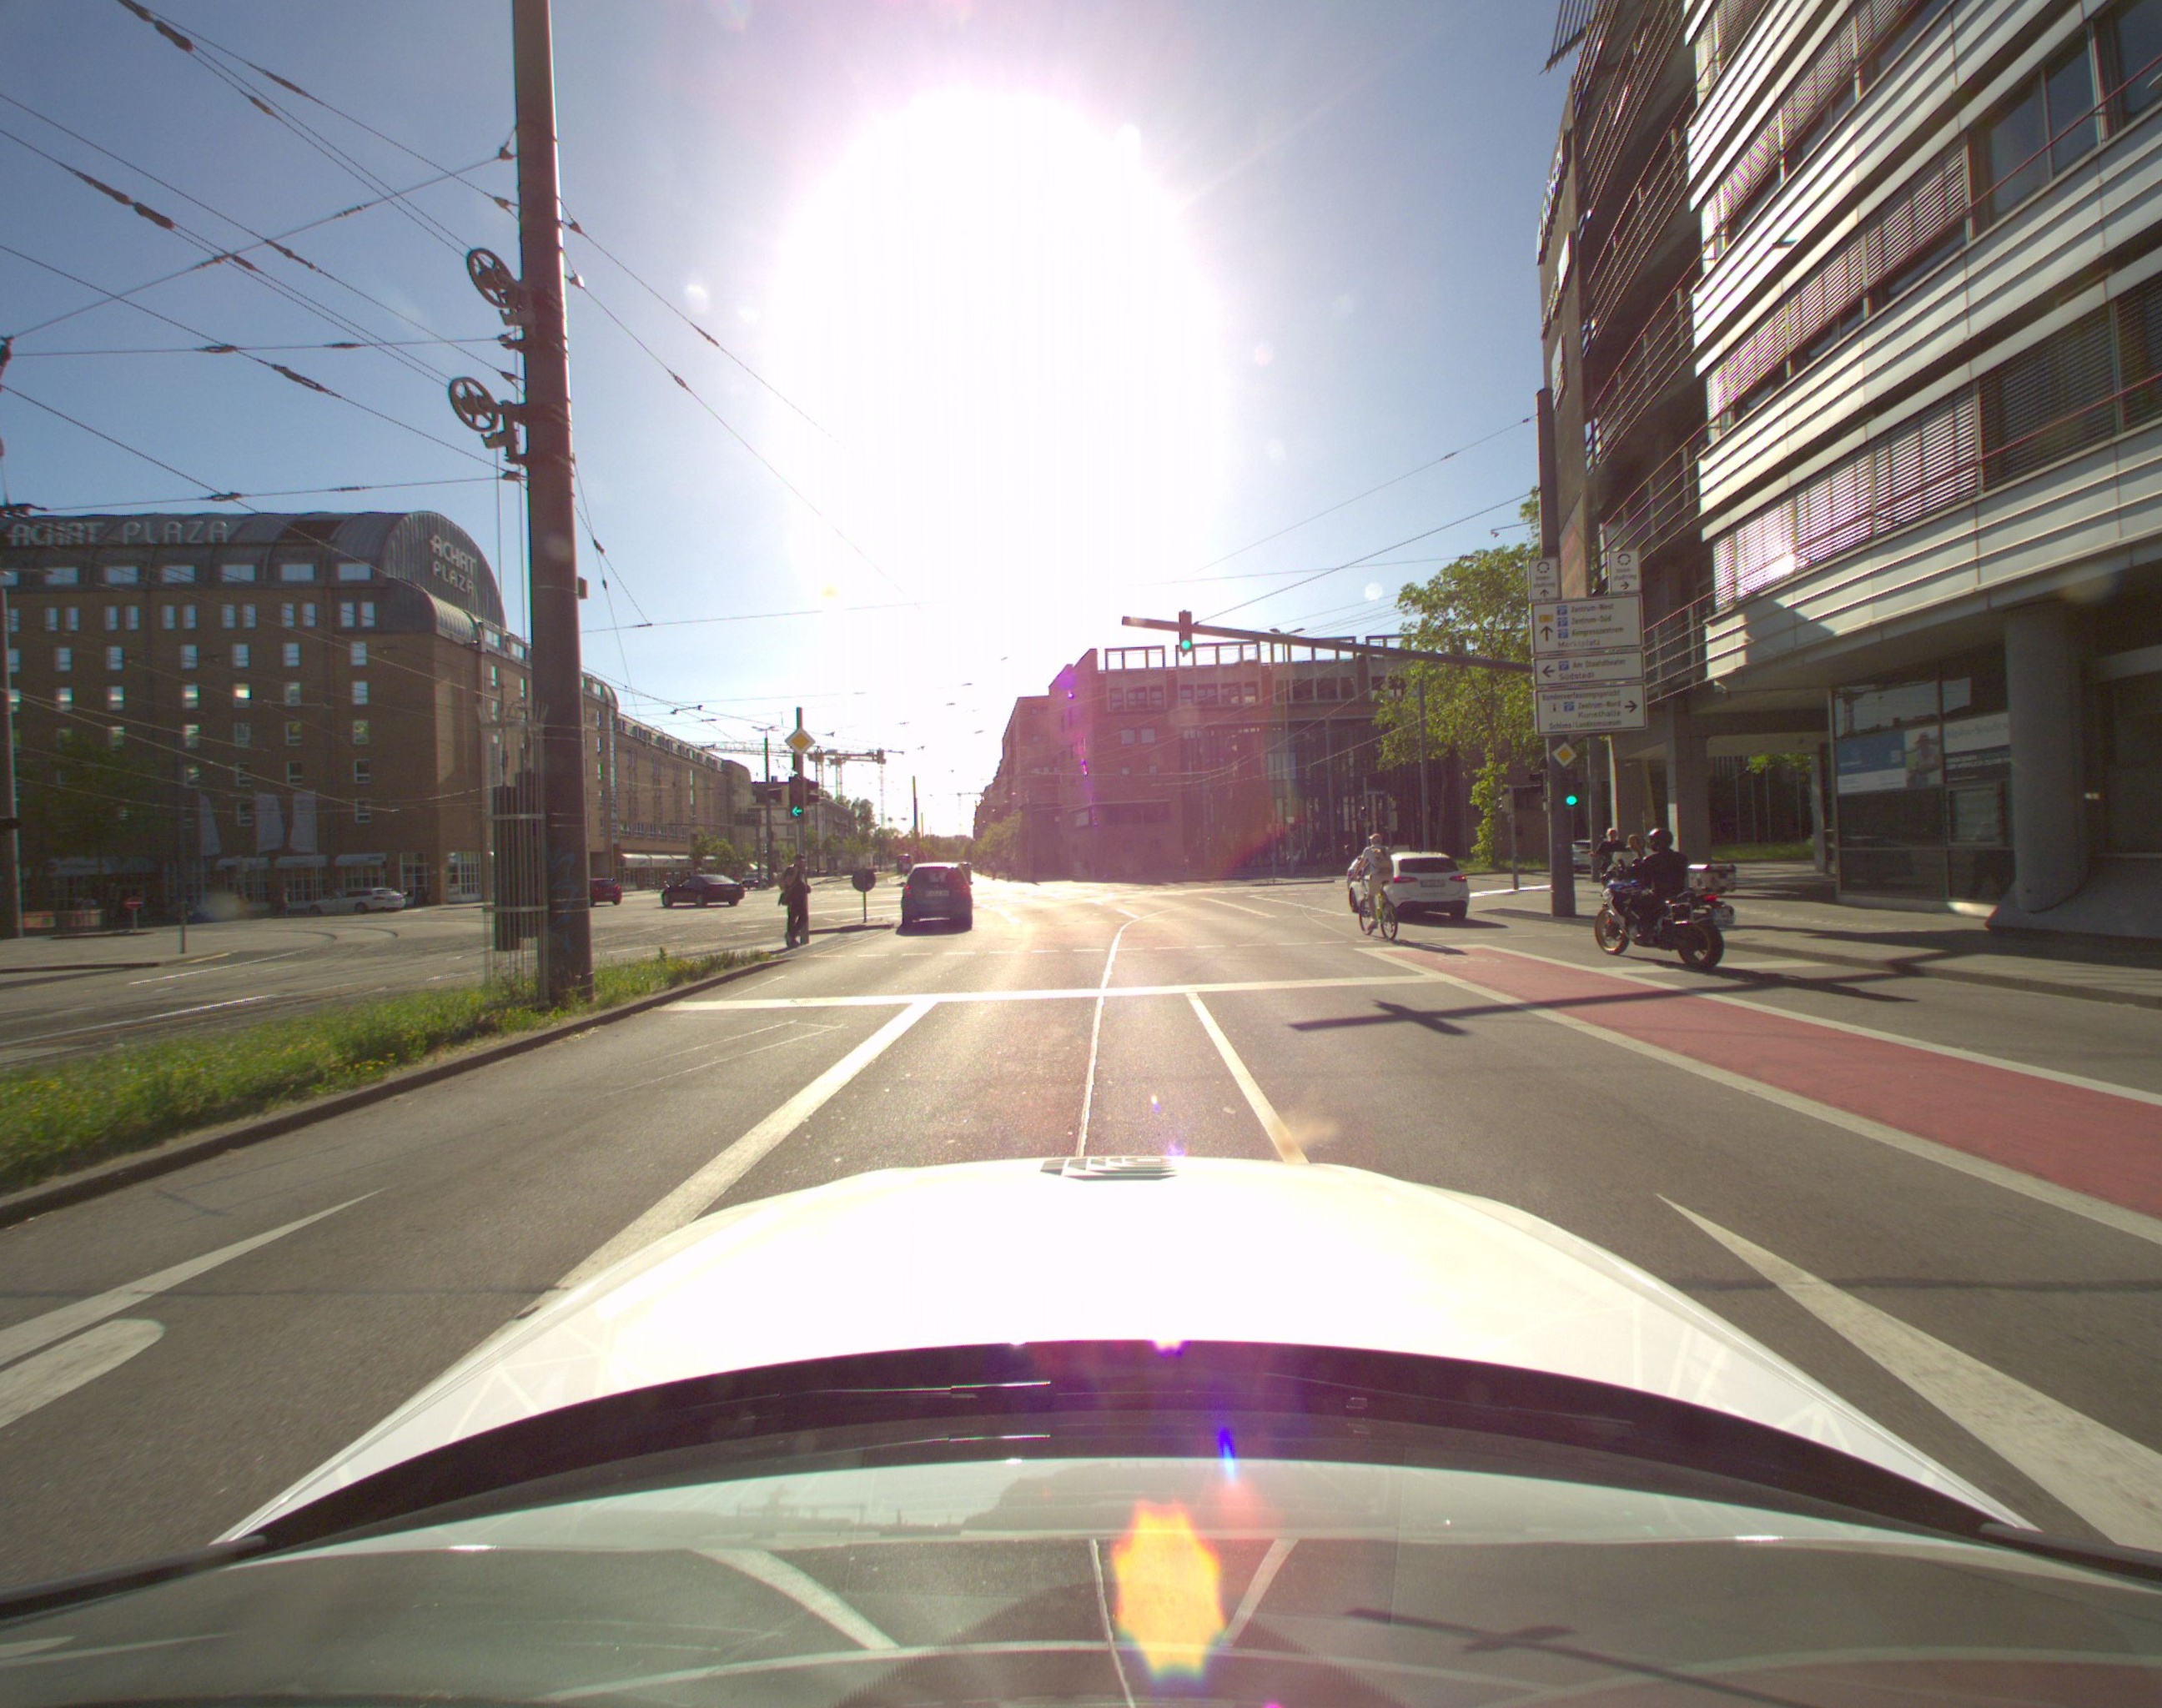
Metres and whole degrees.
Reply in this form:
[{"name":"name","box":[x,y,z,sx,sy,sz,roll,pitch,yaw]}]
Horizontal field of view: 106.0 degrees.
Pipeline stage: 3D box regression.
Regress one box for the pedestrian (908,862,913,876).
[{"name":"pedestrian","box":[-19.378,1.710,92.618,0.539,1.655,0.703,-2,-1,-12]}]

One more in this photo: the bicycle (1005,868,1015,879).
[{"name":"bicycle","box":[-6.340,1.732,72.777,0.603,0.985,2.305,-2,-1,-12]}]

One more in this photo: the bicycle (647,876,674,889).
[{"name":"bicycle","box":[-46.076,3.094,89.185,2.477,1.310,0.733,-2,-1,-1]}]

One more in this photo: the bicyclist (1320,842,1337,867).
[{"name":"bicyclist","box":[16.532,0.040,54.374,0.863,1.630,0.670,-2,-1,-9]}]

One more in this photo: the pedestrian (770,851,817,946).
[{"name":"pedestrian","box":[-5.471,0.827,15.539,0.670,1.753,0.766,-2,0,-10]}]

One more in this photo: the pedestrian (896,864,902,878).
[{"name":"pedestrian","box":[-20.607,1.971,92.267,0.601,1.566,0.910,-2,-1,-12]}]

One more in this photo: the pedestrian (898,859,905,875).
[{"name":"pedestrian","box":[-18.383,1.321,83.329,0.615,1.669,0.860,-5,1,-13]}]

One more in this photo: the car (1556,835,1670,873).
[{"name":"car","box":[23.168,-0.015,35.494,3.989,1.583,1.905,0,1,-12]}]

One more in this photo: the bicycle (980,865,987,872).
[{"name":"bicycle","box":[-13.594,2.039,113.658,0.667,0.985,2.575,-2,-1,-12]}]

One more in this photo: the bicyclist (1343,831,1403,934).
[{"name":"bicyclist","box":[5.169,0.485,14.468,0.647,1.752,1.045,-2,0,0]}]

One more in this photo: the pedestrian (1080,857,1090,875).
[{"name":"pedestrian","box":[0.357,1.079,72.643,0.618,1.563,0.982,-2,-1,-13]}]

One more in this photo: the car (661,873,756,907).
[{"name":"car","box":[-17.891,1.727,39.066,4.464,1.449,1.742,-2,0,28]}]

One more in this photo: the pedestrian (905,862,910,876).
[{"name":"pedestrian","box":[-19.988,1.698,93.885,0.519,1.551,0.598,-2,-1,-12]}]

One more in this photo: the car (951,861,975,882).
[{"name":"car","box":[-11.637,1.686,79.970,1.995,1.948,3.983,-2,-1,-12]}]

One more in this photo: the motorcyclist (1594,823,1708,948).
[{"name":"motorcyclist","box":[7.486,0.405,10.747,0.826,1.561,0.942,-1,-1,2]}]

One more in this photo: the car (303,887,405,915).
[{"name":"car","box":[-41.675,2.683,46.743,4.370,1.381,2.073,-2,-1,11]}]

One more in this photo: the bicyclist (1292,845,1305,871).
[{"name":"bicyclist","box":[15.957,0.267,59.801,0.607,1.884,0.646,-2,-1,-20]}]

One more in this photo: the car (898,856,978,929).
[{"name":"car","box":[-3.536,0.882,20.260,1.726,1.564,3.665,-2,0,-10]}]

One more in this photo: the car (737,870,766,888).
[{"name":"car","box":[-30.624,2.264,75.731,1.610,1.398,3.906,-6,1,-10]}]

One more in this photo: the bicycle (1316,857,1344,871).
[{"name":"bicycle","box":[16.622,0.672,54.397,1.668,0.806,0.671,-2,-1,-9]}]

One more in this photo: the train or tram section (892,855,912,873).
[{"name":"train or tram section","box":[-31.923,1.821,145.676,2.324,3.003,13.126,-2,0,-7]}]

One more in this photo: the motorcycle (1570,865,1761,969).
[{"name":"motorcycle","box":[7.512,0.747,10.664,0.826,1.201,2.391,-1,-1,2]}]

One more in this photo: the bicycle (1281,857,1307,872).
[{"name":"bicycle","box":[15.621,0.786,59.734,1.674,0.994,0.669,-2,-1,-20]}]

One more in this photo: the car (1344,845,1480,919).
[{"name":"car","box":[7.795,0.598,19.598,1.897,1.583,4.144,0,0,5]}]

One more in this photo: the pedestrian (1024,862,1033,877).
[{"name":"pedestrian","box":[-6.018,1.800,93.212,0.881,1.717,0.927,-2,-1,-12]}]

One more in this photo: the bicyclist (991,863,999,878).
[{"name":"bicyclist","box":[-8.863,1.716,83.762,0.667,1.527,0.704,-2,-1,-12]}]

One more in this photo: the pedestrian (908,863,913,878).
[{"name":"pedestrian","box":[-19.316,1.840,92.408,0.539,1.655,0.892,-2,-1,-12]}]

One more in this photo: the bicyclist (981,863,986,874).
[{"name":"bicyclist","box":[-13.619,1.990,113.714,0.667,1.527,0.704,-2,-1,-12]}]

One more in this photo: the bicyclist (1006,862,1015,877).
[{"name":"bicyclist","box":[-6.282,1.376,72.432,0.593,1.335,0.929,-2,-1,-12]}]

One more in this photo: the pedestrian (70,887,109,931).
[{"name":"pedestrian","box":[-46.033,2.540,37.811,0.701,1.932,0.902,-2,0,-10]}]

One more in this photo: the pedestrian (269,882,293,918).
[{"name":"pedestrian","box":[-43.462,2.482,44.251,0.523,1.932,0.748,-2,0,-10]}]

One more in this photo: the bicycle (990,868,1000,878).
[{"name":"bicycle","box":[-8.854,1.969,83.748,0.667,0.985,2.575,-2,-1,-12]}]

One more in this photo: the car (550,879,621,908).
[{"name":"car","box":[-26.842,2.145,44.073,3.539,1.449,1.669,-2,0,28]}]

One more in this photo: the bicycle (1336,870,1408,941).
[{"name":"bicycle","box":[5.187,0.888,14.640,0.647,1.110,1.758,-2,1,0]}]

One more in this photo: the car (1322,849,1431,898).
[{"name":"car","box":[10.237,0.618,28.080,4.162,1.541,1.889,0,0,-44]}]

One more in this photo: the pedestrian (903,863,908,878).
[{"name":"pedestrian","box":[-19.912,1.892,92.234,0.510,1.655,0.758,-2,-1,-12]}]

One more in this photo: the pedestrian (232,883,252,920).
[{"name":"pedestrian","box":[-44.783,2.552,43.471,0.519,1.932,0.531,-2,-1,16]}]

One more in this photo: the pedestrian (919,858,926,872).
[{"name":"pedestrian","box":[-19.221,1.349,98.811,0.720,1.735,0.596,-2,-1,-29]}]
